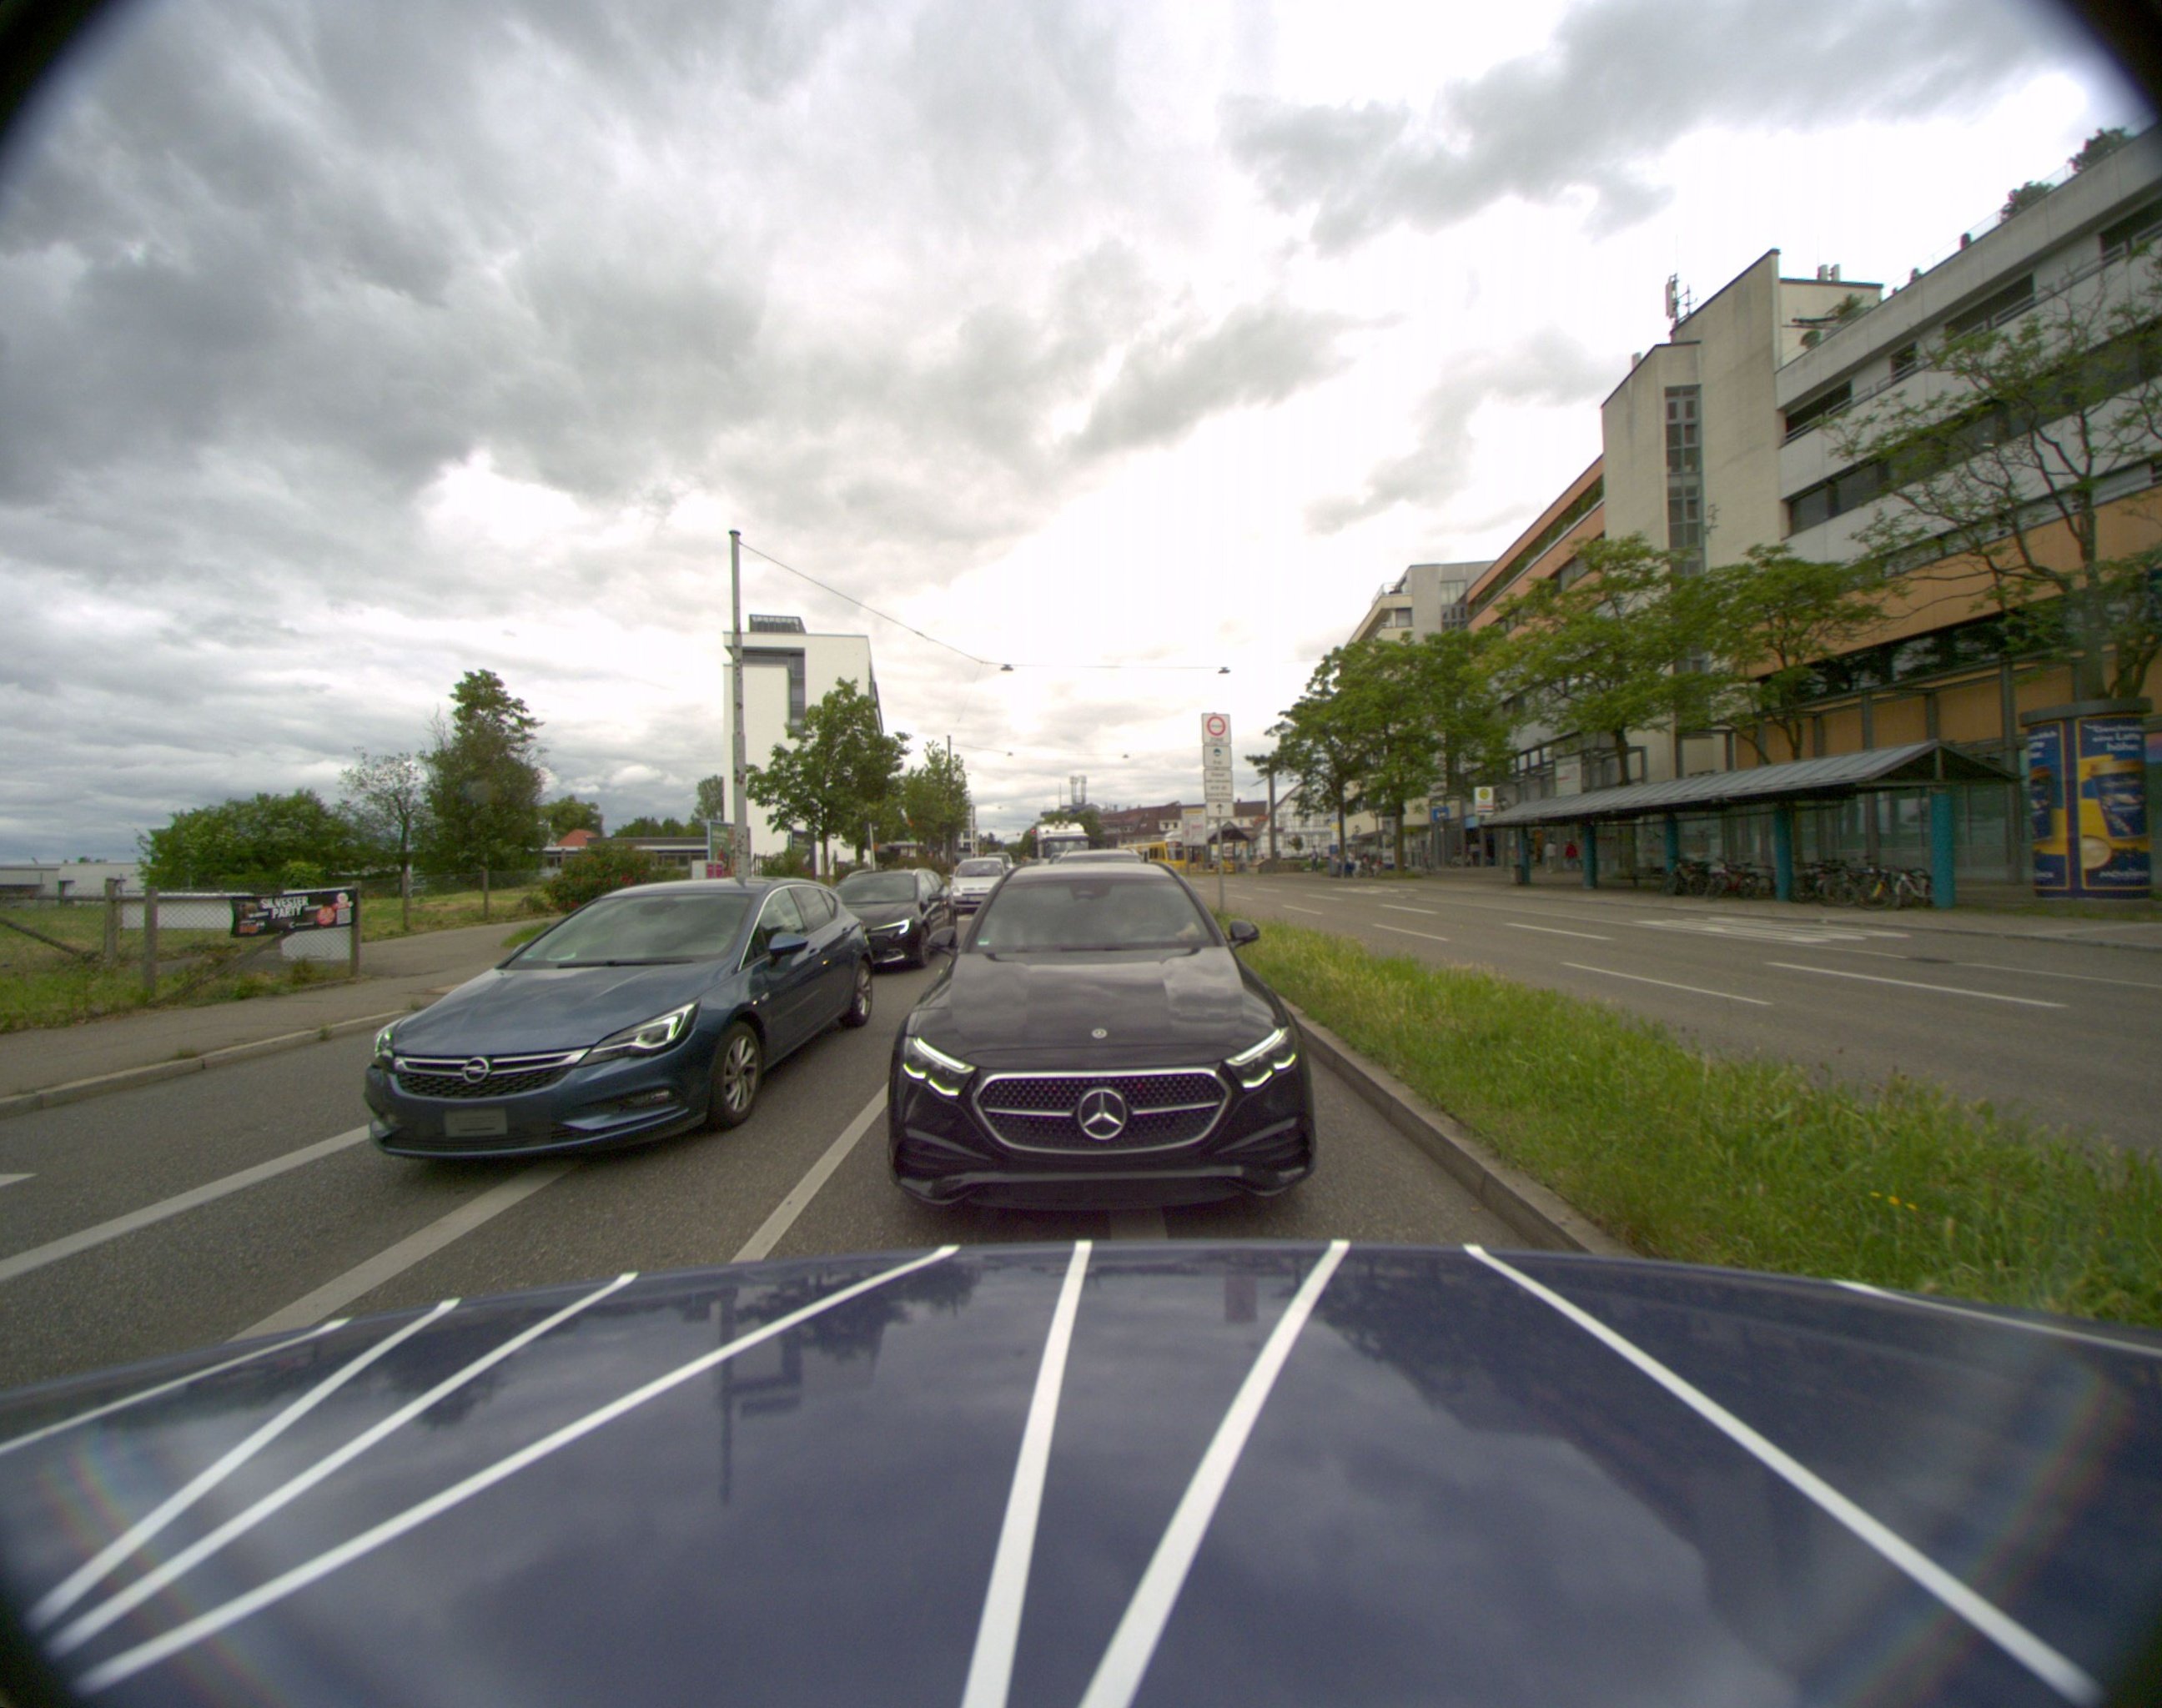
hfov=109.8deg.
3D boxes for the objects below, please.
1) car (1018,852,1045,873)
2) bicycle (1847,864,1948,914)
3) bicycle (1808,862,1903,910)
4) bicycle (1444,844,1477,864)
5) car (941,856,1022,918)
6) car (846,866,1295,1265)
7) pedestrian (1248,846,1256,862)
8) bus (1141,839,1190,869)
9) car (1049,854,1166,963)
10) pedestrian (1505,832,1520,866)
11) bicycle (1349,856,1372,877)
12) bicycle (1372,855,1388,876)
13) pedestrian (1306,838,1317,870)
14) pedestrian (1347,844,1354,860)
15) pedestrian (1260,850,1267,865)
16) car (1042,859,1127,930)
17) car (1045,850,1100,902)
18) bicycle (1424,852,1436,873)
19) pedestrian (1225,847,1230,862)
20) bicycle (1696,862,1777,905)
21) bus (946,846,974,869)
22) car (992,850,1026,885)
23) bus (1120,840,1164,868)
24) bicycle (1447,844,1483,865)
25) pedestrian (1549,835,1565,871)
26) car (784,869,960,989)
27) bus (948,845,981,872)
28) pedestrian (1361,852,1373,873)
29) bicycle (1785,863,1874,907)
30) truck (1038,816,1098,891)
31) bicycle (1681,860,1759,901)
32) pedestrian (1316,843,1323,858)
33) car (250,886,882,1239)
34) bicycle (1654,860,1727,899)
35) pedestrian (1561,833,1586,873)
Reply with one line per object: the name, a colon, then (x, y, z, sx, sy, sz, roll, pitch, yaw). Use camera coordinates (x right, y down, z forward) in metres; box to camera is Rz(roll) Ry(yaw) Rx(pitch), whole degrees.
car: (-4.323, 0.718, 66.384, 2.000, 1.674, 3.997, -4, 1, -8)
bicycle: (18.685, 0.791, 17.404, 1.735, 1.035, 0.549, -2, 1, -2)
bicycle: (18.626, 0.759, 18.290, 1.735, 1.035, 0.549, -3, 1, -2)
bicycle: (27.755, -0.016, 55.559, 2.138, 1.358, 0.620, -2, 1, 26)
car: (-2.943, 0.934, 23.220, 1.851, 1.606, 3.783, -3, 0, 0)
car: (-0.052, 0.890, 5.196, 1.793, 1.507, 4.249, -1, 0, 0)
pedestrian: (22.356, 0.013, 99.127, 0.879, 2.002, 1.010, -1, 1, 6)
bus: (8.697, 0.017, 79.021, 2.556, 2.966, 8.498, -1, 0, -11)
car: (0.393, 0.827, 13.488, 1.734, 1.601, 4.000, -2, 0, 0)
pedestrian: (25.519, -0.304, 44.926, 0.566, 2.002, 0.611, -1, 1, 6)
bicycle: (15.478, 0.664, 42.023, 0.593, 1.071, 2.041, 0, 1, 38)
bicycle: (16.401, 0.631, 41.652, 0.593, 1.071, 2.041, 0, 1, 29)
pedestrian: (16.221, -0.002, 53.427, 0.590, 2.294, 0.608, -1, 1, -2)
pedestrian: (19.487, -0.167, 54.960, 0.341, 1.172, 0.369, -1, 1, -9)
pedestrian: (19.255, 0.377, 80.140, 0.577, 1.533, 0.583, -1, 1, -8)
car: (0.045, 0.918, 18.914, 1.865, 1.520, 3.999, -1, 0, -1)
car: (-0.367, 0.768, 28.351, 1.865, 1.773, 3.999, -1, 0, -2)
bicycle: (19.486, 0.478, 42.391, 0.593, 1.119, 2.040, 0, 1, 24)
pedestrian: (20.852, 0.070, 108.280, 0.742, 2.002, 0.939, -1, 1, 11)
bicycle: (17.948, 0.797, 20.817, 1.735, 1.035, 0.549, -3, 1, -2)
bus: (-15.226, 0.359, 95.055, 2.969, 2.616, 12.911, -2, 1, -11)
car: (-4.246, 0.764, 45.341, 1.852, 1.875, 4.135, -3, 0, -4)
bus: (6.932, -0.026, 87.957, 2.556, 2.966, 9.790, -1, 0, -11)
bicycle: (26.993, 0.041, 53.407, 2.139, 1.367, 0.620, -2, 1, 18)
pedestrian: (24.098, -0.039, 38.495, 0.648, 1.799, 0.761, 0, 1, 34)
car: (-3.073, 1.027, 12.026, 1.665, 1.448, 3.921, -2, 0, 0)
bus: (-12.819, 0.403, 82.732, 2.969, 2.616, 12.137, -2, 1, -11)
pedestrian: (24.210, 0.712, 64.272, 0.765, 1.835, 0.752, -1, 1, 1)
bicycle: (19.025, 0.782, 19.315, 1.735, 1.035, 0.549, -2, 1, -2)
truck: (-0.767, -0.035, 36.730, 2.490, 3.258, 7.428, -1, 0, -4)
bicycle: (18.284, 0.751, 21.749, 1.735, 1.035, 0.549, -4, 1, -2)
pedestrian: (24.184, -0.341, 77.016, 0.555, 1.485, 0.454, -1, 1, 8)
car: (-2.913, 1.055, 5.532, 1.826, 1.402, 4.000, -2, 0, 0)
bicycle: (18.205, 0.756, 22.709, 1.735, 1.035, 0.549, -3, 1, -2)
pedestrian: (25.091, -0.062, 38.750, 0.710, 2.002, 0.794, -2, 1, 0)
